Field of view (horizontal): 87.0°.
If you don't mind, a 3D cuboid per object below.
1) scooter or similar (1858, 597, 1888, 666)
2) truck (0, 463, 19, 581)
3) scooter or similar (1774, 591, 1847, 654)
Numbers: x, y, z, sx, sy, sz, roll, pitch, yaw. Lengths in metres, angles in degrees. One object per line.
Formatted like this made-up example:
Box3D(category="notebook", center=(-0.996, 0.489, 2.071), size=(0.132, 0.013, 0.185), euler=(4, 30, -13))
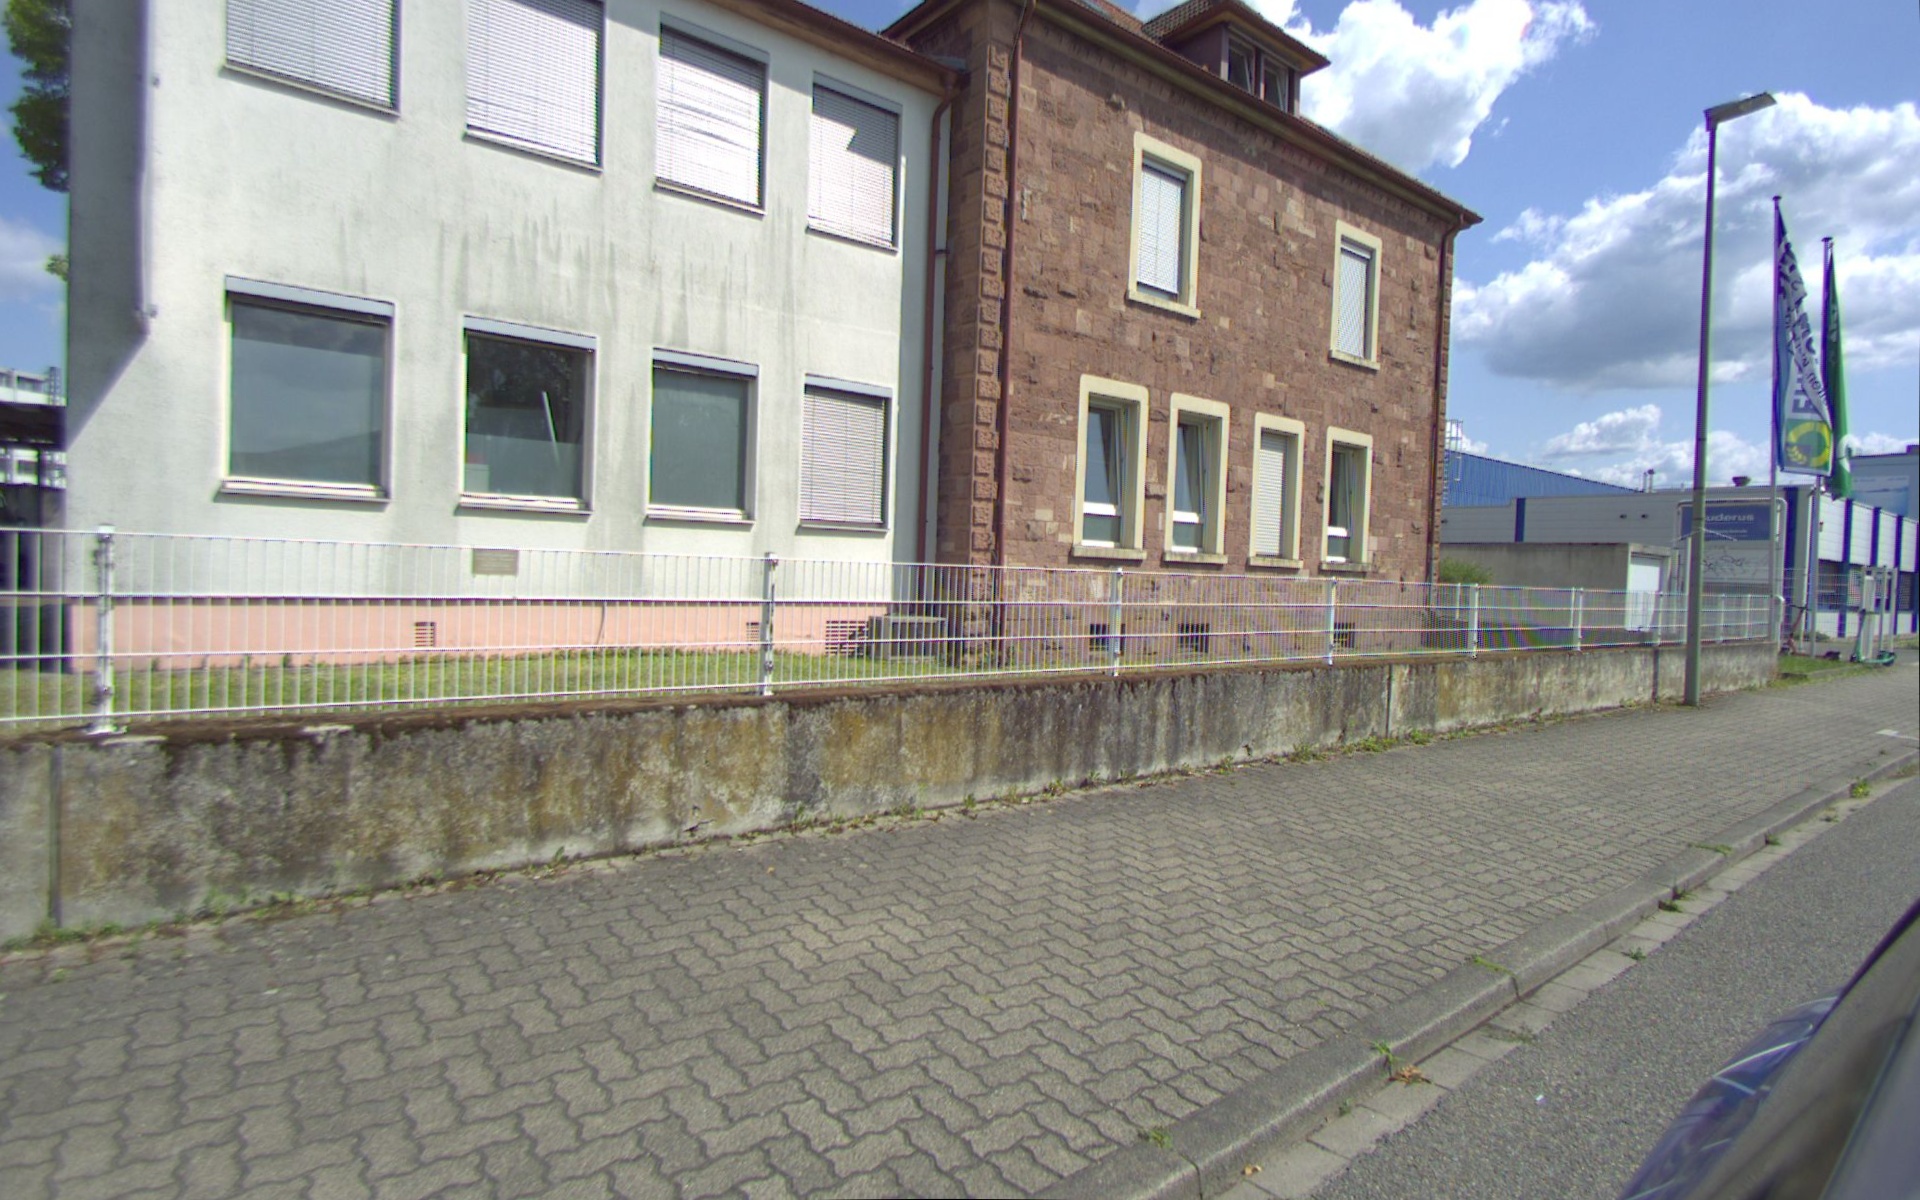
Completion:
Box3D(category="scooter or similar", center=(18.022, 0.612, 19.975), size=(0.359, 1.328, 0.334), euler=(1, 2, -38))
Box3D(category="truck", center=(-20.251, -1.557, 19.394), size=(1.959, 2.454, 4.753), euler=(1, 2, -27))
Box3D(category="scooter or similar", center=(17.932, 0.460, 21.366), size=(0.253, 1.261, 1.153), euler=(1, 2, -20))
